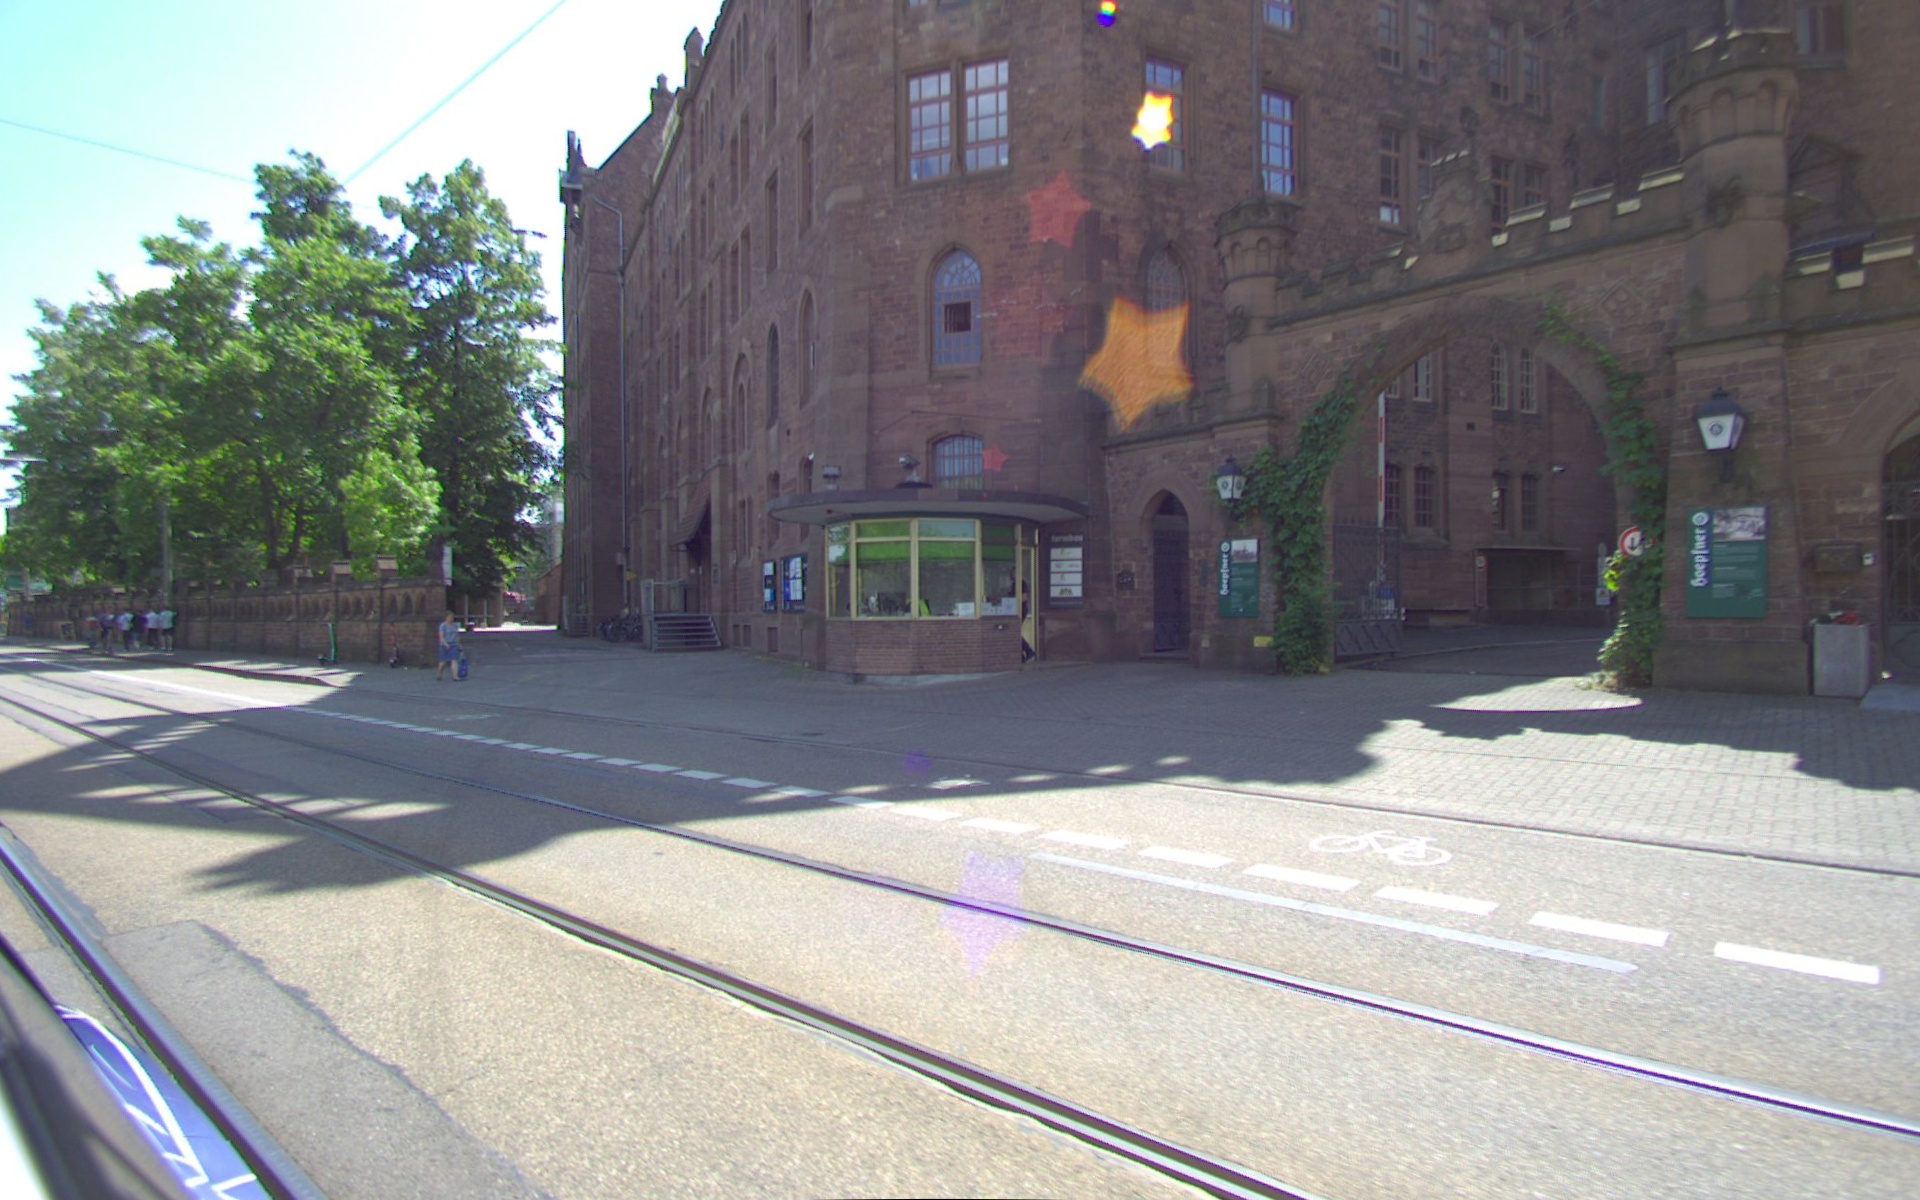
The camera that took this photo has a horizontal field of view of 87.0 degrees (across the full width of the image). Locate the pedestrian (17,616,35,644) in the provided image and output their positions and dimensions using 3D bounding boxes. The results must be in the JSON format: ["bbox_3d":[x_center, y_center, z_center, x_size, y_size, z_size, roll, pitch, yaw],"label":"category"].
[{"bbox_3d":[-61.685,1.989,66.845,0.919,1.761,0.741,-1,1,41],"label":"pedestrian"}]

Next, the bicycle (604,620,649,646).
[{"bbox_3d":[-14.061,1.381,42.676,1.753,1.001,0.494,-2,0,-15],"label":"bicycle"}]

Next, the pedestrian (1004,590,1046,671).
[{"bbox_3d":[1.167,0.537,18.138,0.582,1.411,0.416,-1,0,41],"label":"pedestrian"}]

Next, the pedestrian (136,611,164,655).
[{"bbox_3d":[-33.634,1.367,42.018,0.919,1.790,0.670,-1,2,41],"label":"pedestrian"}]

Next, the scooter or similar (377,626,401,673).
[{"bbox_3d":[-14.538,1.240,25.791,0.324,1.135,1.227,-1,0,-21],"label":"scooter or similar"}]

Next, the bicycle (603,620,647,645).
[{"bbox_3d":[-14.328,1.383,43.300,1.753,1.001,0.494,-2,0,-15],"label":"bicycle"}]

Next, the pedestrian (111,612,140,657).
[{"bbox_3d":[-33.977,1.394,41.211,0.919,1.803,0.670,-1,2,41],"label":"pedestrian"}]

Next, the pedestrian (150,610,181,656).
[{"bbox_3d":[-31.696,1.313,40.378,0.919,1.790,0.745,-1,2,41],"label":"pedestrian"}]

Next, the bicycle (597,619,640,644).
[{"bbox_3d":[-15.065,1.388,44.663,1.753,1.001,0.494,-2,0,-17],"label":"bicycle"}]

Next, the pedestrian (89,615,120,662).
[{"bbox_3d":[-34.157,1.539,40.410,0.919,1.805,0.714,-1,2,41],"label":"pedestrian"}]

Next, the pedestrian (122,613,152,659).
[{"bbox_3d":[-32.399,1.417,39.830,0.919,1.761,0.670,-1,2,41],"label":"pedestrian"}]

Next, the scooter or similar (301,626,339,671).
[{"bbox_3d":[-17.479,1.310,27.667,0.343,1.135,1.227,-1,1,-6],"label":"scooter or similar"}]

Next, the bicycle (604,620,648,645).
[{"bbox_3d":[-14.458,1.395,43.872,1.753,1.001,0.494,-2,0,-15],"label":"bicycle"}]

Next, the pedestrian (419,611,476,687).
[{"bbox_3d":[-11.502,1.081,22.724,0.919,1.600,0.791,1,3,41],"label":"pedestrian"}]

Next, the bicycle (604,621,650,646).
[{"bbox_3d":[-13.854,1.388,42.106,1.753,1.001,0.494,-2,0,-15],"label":"bicycle"}]

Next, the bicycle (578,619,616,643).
[{"bbox_3d":[-16.541,1.397,46.106,0.490,1.001,1.767,-1,0,27],"label":"bicycle"}]
